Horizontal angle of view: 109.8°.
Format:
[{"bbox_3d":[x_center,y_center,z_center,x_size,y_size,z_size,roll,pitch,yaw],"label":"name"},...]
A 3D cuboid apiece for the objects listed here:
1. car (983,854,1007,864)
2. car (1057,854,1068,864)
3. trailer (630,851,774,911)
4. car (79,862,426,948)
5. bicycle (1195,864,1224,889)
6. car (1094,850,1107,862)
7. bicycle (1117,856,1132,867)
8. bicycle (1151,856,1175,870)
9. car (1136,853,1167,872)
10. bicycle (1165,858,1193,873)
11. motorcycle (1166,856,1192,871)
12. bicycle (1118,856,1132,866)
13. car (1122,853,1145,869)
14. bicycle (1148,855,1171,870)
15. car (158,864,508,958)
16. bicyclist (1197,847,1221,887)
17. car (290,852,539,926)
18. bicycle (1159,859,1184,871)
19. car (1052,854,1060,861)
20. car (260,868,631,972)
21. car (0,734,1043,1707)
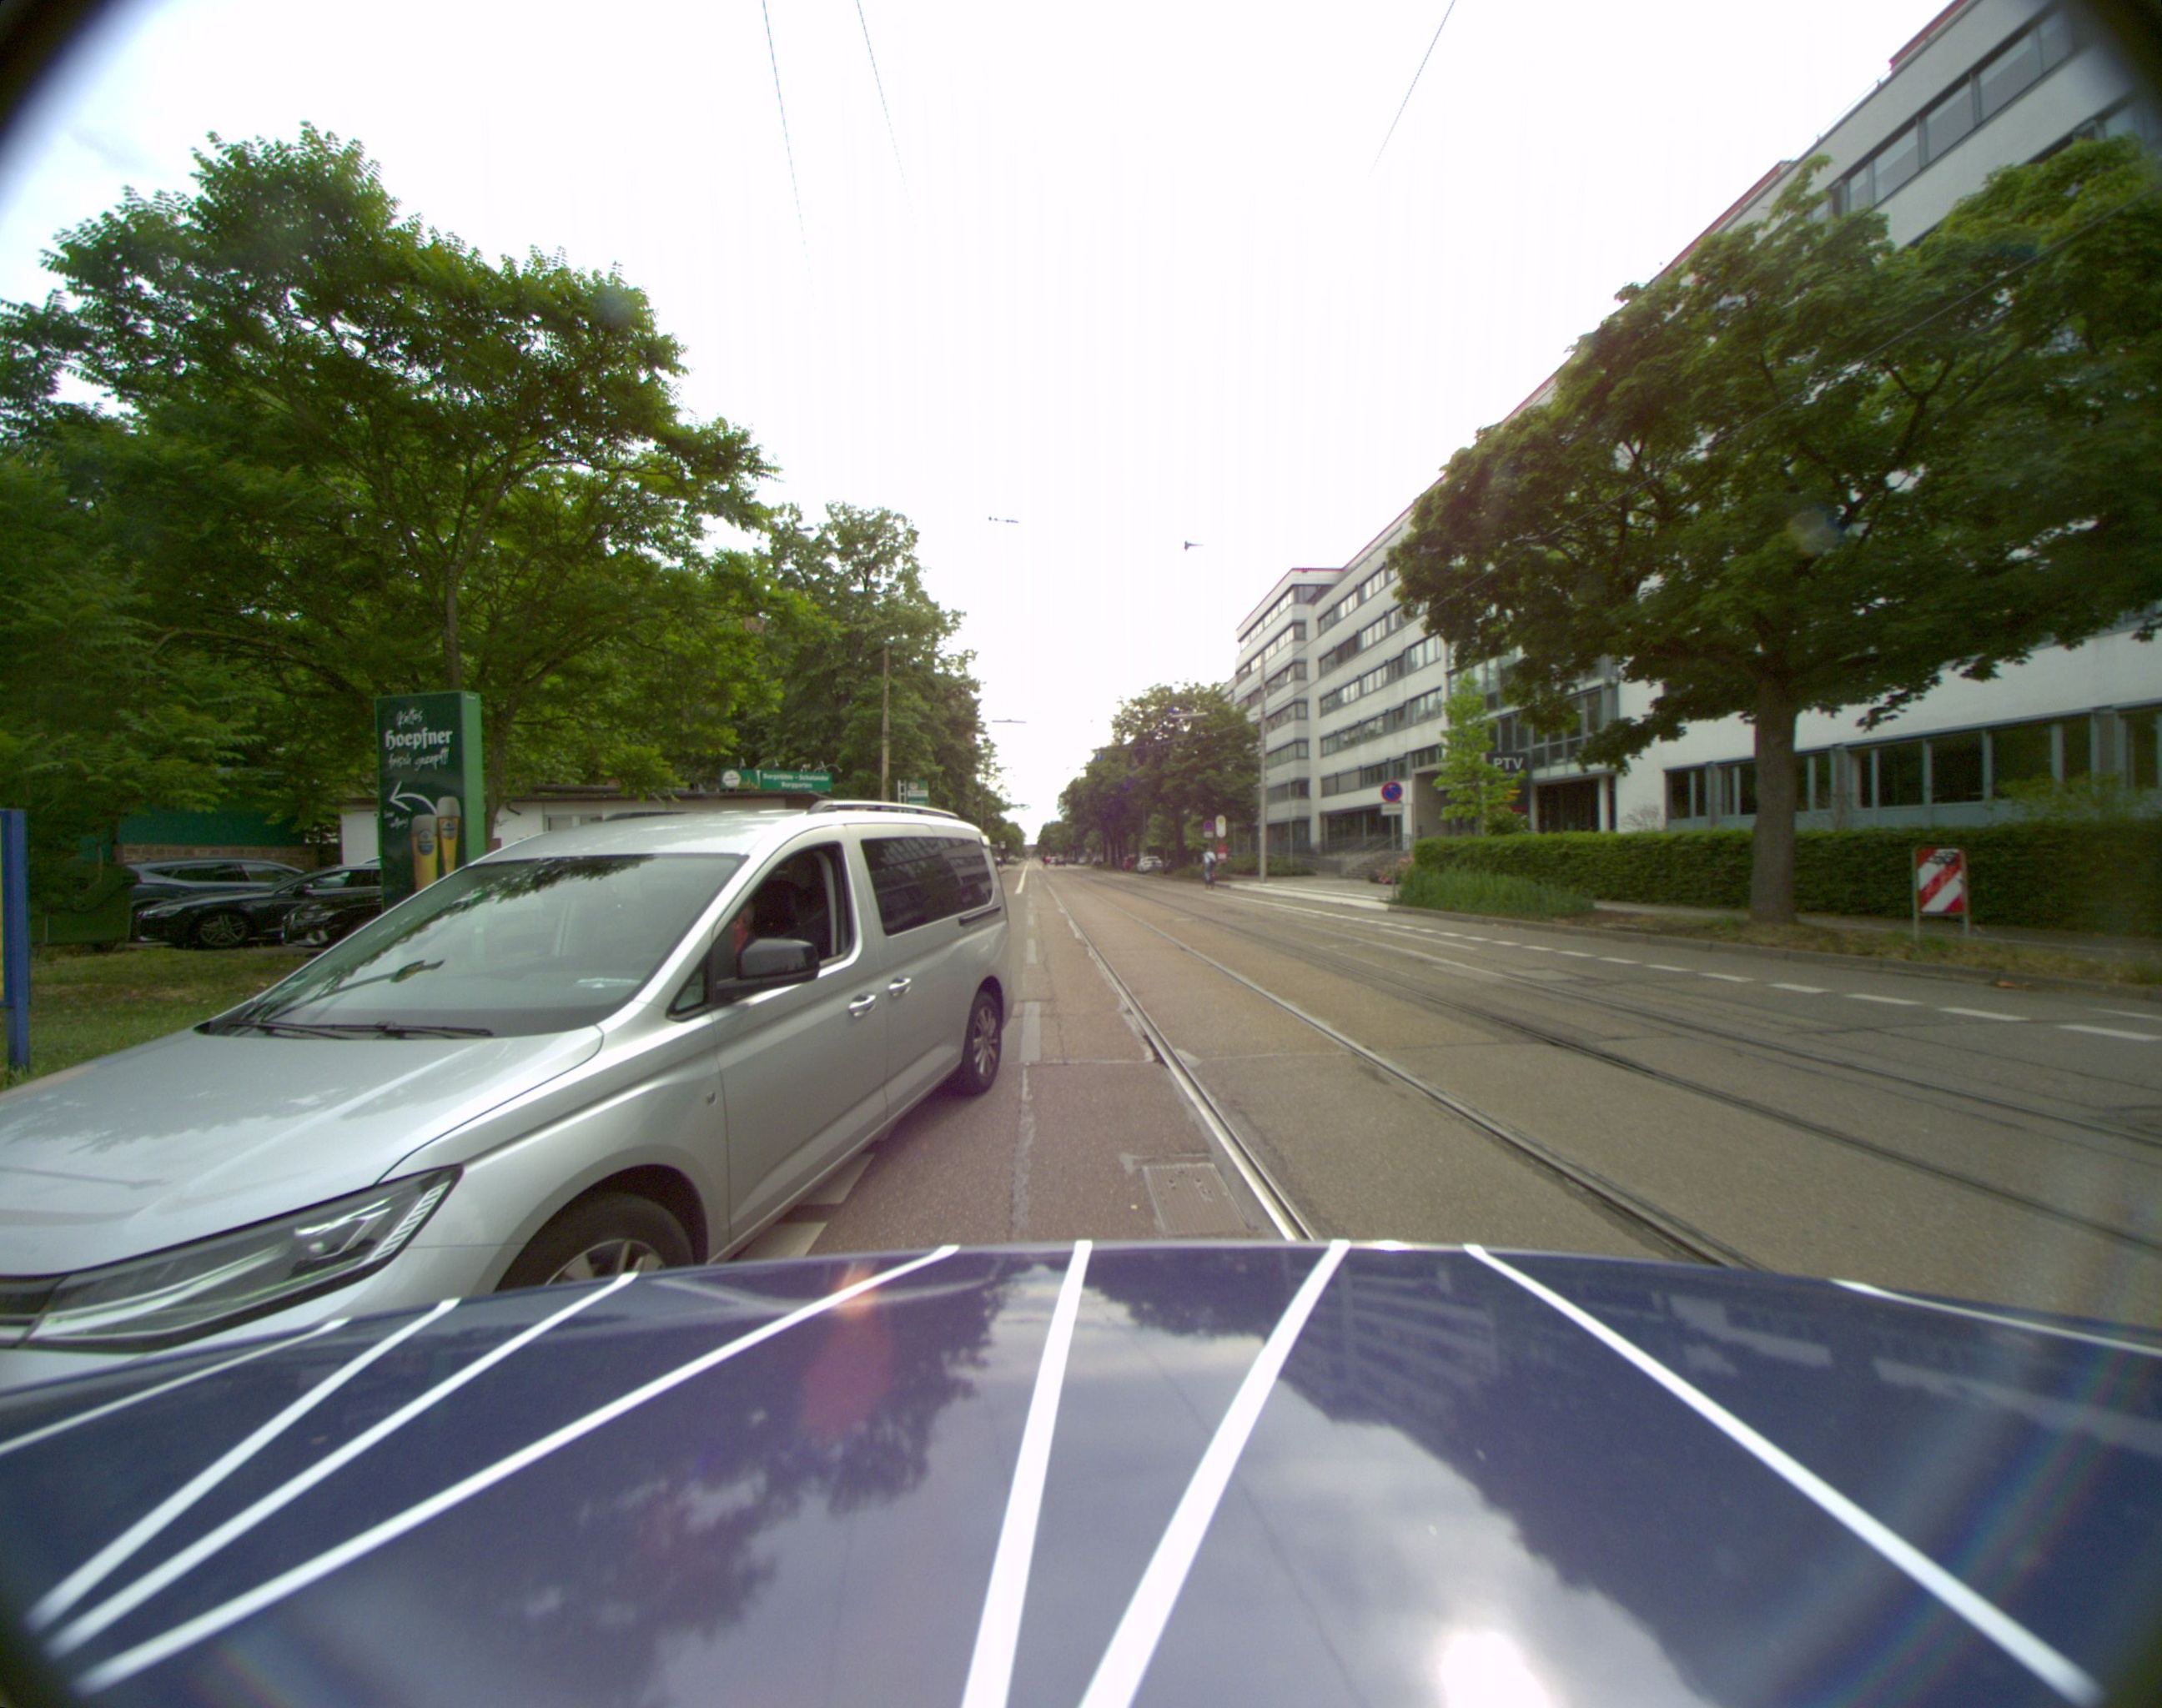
[{"bbox_3d":[-15.669,0.939,138.172,3.994,1.608,2.001,2,1,8],"label":"car"},{"bbox_3d":[-3.201,0.857,132.797,1.832,1.727,4.333,-1,1,-3],"label":"car"},{"bbox_3d":[-10.552,0.716,21.320,3.170,1.530,1.620,-1,1,-2],"label":"trailer"},{"bbox_3d":[-16.369,0.903,15.273,1.980,1.450,4.501,-1,-1,36],"label":"car"},{"bbox_3d":[5.742,0.988,34.035,0.589,1.067,1.954,-1,0,-14],"label":"bicycle"},{"bbox_3d":[2.991,0.286,116.508,1.815,1.699,3.999,-3,1,0],"label":"car"},{"bbox_3d":[4.896,0.839,85.579,1.475,1.085,0.616,-3,1,-16],"label":"bicycle"},{"bbox_3d":[6.625,0.731,61.467,1.812,1.094,0.631,0,1,-10],"label":"bicycle"},{"bbox_3d":[6.063,0.711,65.619,1.886,1.485,4.751,-3,0,-4],"label":"car"},{"bbox_3d":[7.133,0.825,55.248,1.835,1.047,0.741,-1,0,-12],"label":"bicycle"},{"bbox_3d":[7.386,0.688,57.495,1.794,1.044,0.732,-2,1,-11],"label":"motorcycle"},{"bbox_3d":[5.083,0.785,87.101,1.473,1.134,0.617,-3,1,-5],"label":"bicycle"},{"bbox_3d":[5.408,0.689,78.832,1.633,1.439,3.754,-4,1,-7],"label":"car"},{"bbox_3d":[6.473,0.709,62.621,1.869,1.180,0.632,0,1,1],"label":"bicycle"},{"bbox_3d":[-13.932,0.938,14.432,1.872,1.419,4.551,2,1,39],"label":"car"},{"bbox_3d":[5.735,0.560,34.049,0.738,1.739,0.977,-1,1,-14],"label":"bicyclist"},{"bbox_3d":[-16.450,0.831,18.930,4.434,1.637,1.991,-1,1,2],"label":"car"},{"bbox_3d":[7.029,0.867,59.098,1.812,0.894,0.631,0,1,-10],"label":"bicycle"},{"bbox_3d":[-5.499,0.767,167.541,1.708,1.521,3.740,-2,1,-5],"label":"car"},{"bbox_3d":[-10.574,0.965,12.969,1.929,1.399,4.594,0,0,40],"label":"car"},{"bbox_3d":[-1.751,0.729,3.749,1.848,1.797,4.942,-1,0,13],"label":"car"}]
